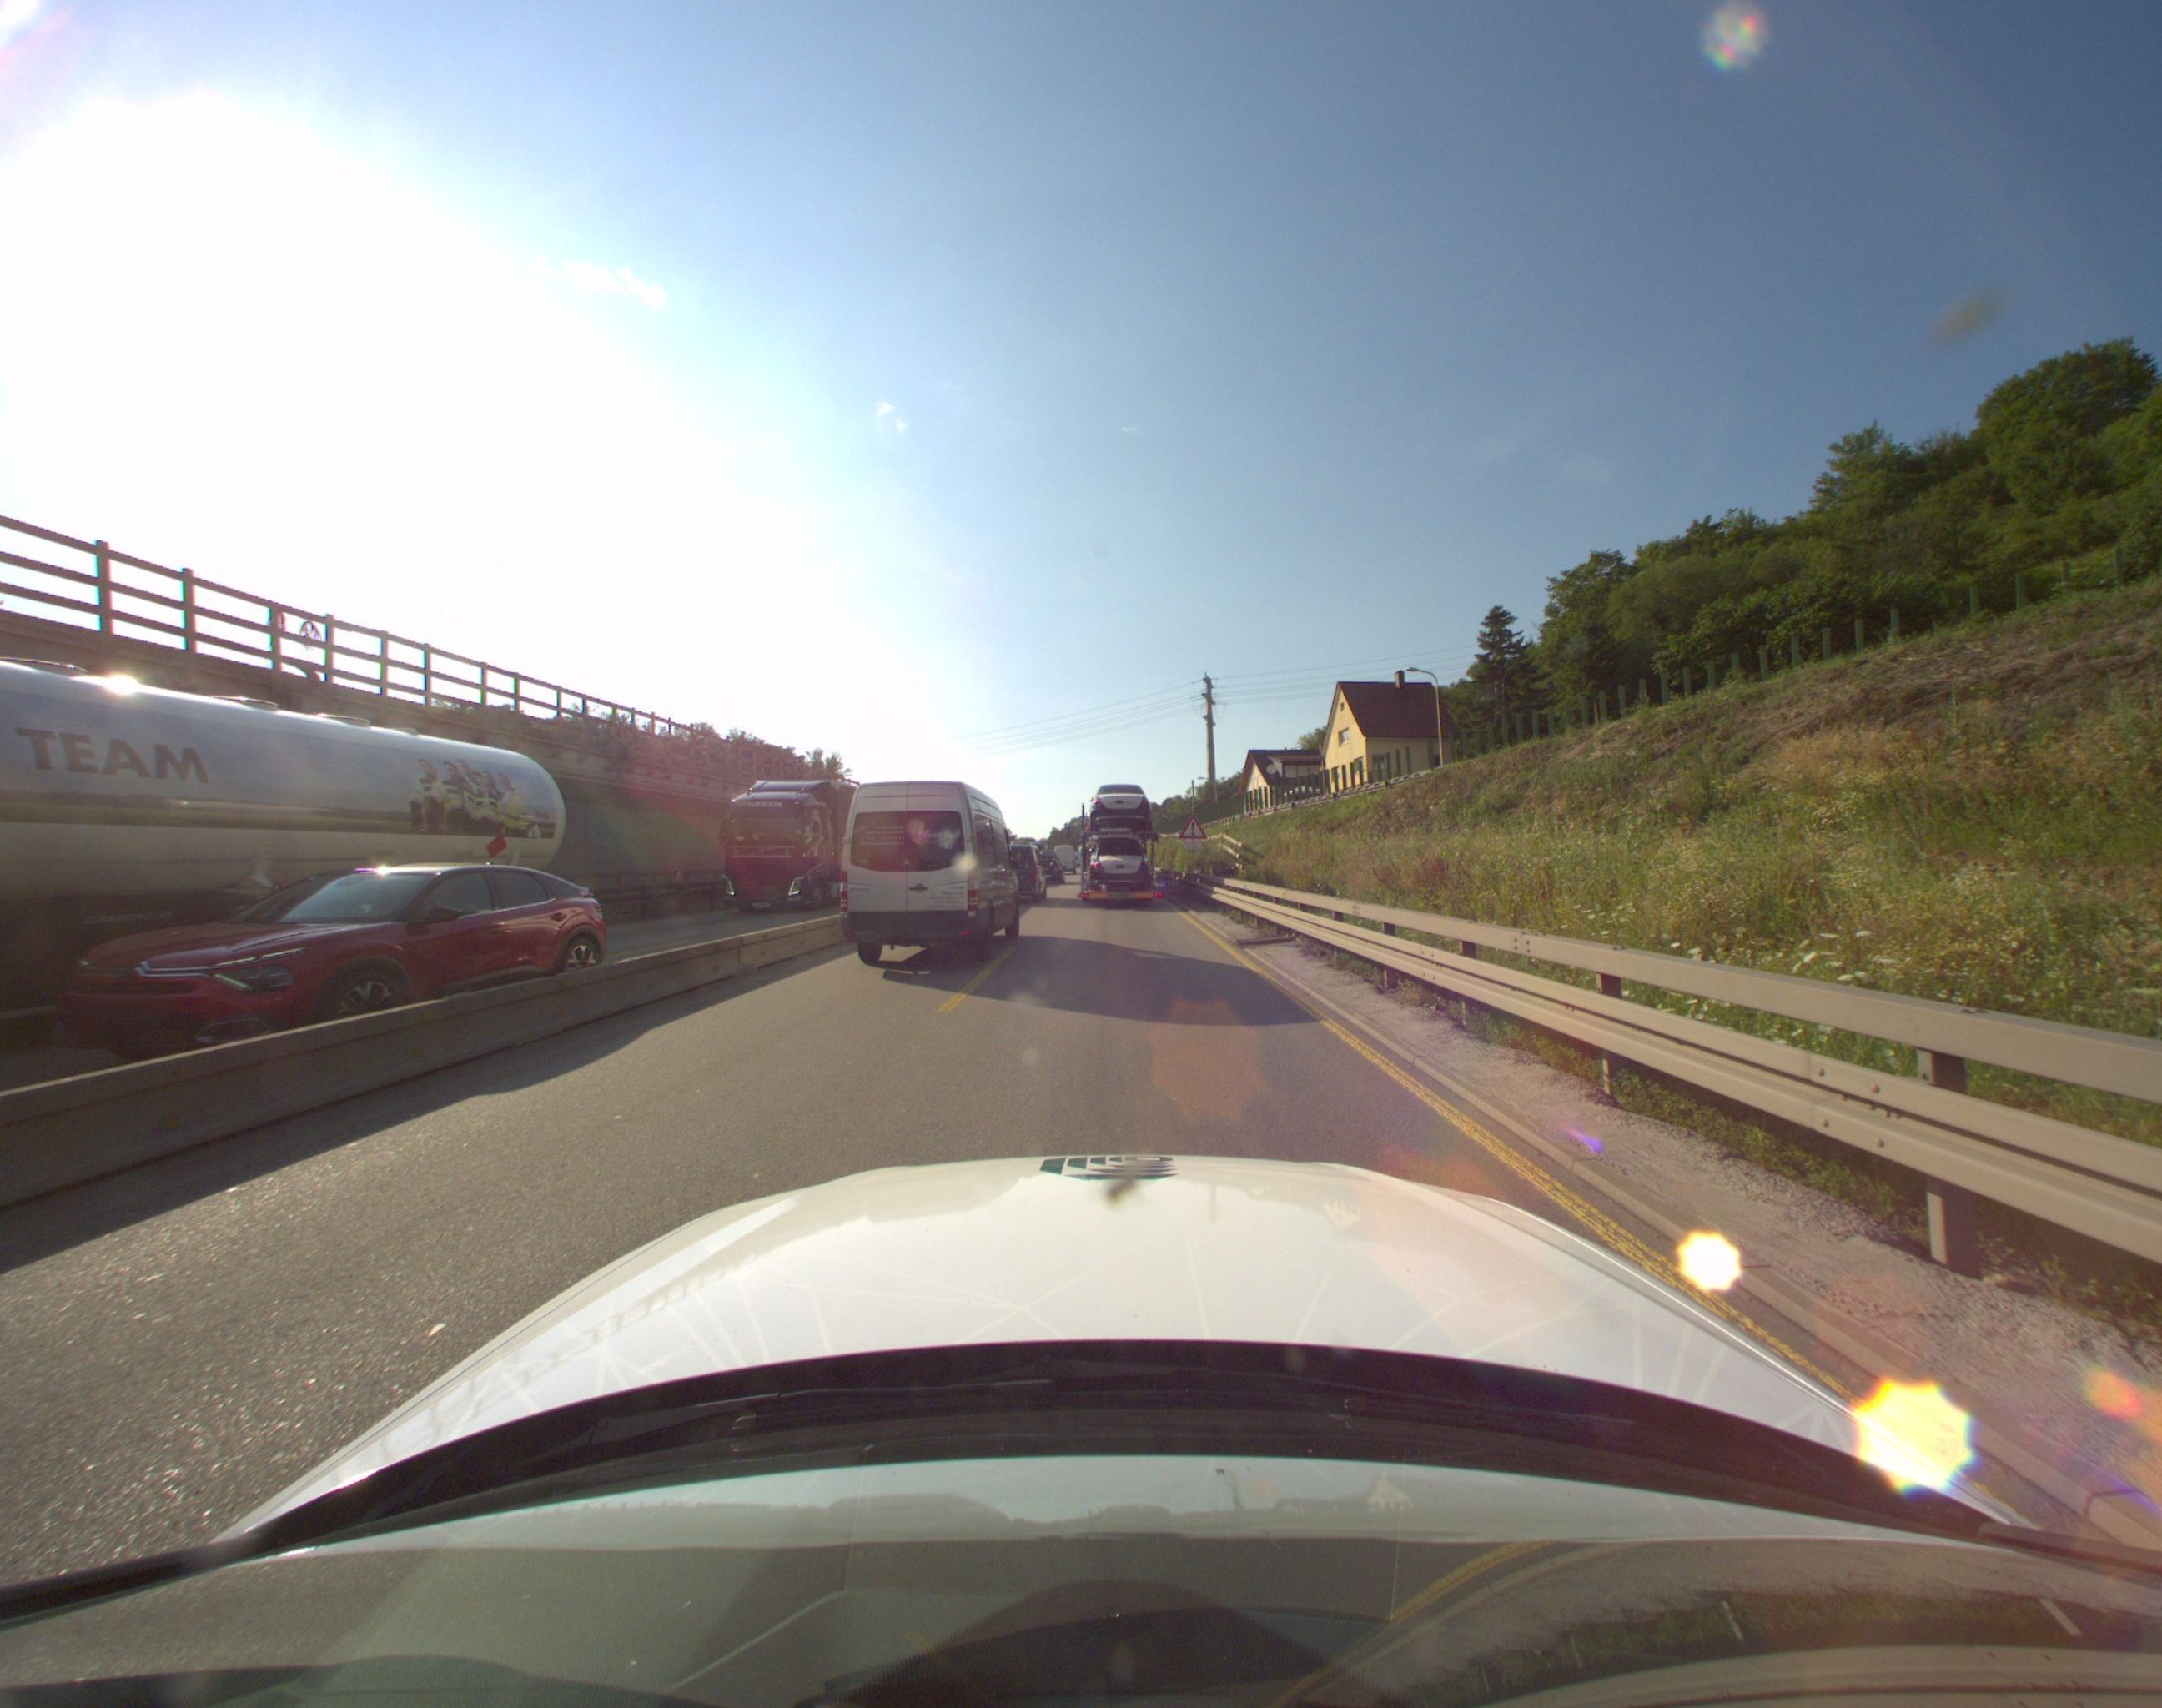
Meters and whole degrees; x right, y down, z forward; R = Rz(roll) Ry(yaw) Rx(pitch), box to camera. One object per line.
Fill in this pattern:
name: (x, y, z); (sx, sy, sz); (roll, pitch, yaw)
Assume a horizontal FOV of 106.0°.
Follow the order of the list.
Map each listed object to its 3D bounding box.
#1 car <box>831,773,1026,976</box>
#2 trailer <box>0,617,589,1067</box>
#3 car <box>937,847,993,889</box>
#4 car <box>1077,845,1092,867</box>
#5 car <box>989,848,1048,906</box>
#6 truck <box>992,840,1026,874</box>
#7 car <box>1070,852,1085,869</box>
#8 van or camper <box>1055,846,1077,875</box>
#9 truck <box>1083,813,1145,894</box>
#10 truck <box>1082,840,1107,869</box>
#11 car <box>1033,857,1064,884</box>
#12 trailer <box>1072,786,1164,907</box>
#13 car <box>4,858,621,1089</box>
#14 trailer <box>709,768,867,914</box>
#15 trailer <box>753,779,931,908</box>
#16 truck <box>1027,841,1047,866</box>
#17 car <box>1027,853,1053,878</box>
car: (-2.230, 0.279, 13.652); (1.986, 2.648, 5.532); (-2, 0, 2)
trailer: (-9.683, -0.051, 8.267); (2.547, 3.527, 10.685); (0, -1, 2)
car: (-4.847, 0.605, 34.562); (1.635, 1.645, 4.689); (0, -1, 1)
car: (0.806, 0.513, 190.619); (3.435, 5.035, 9.648); (-1, 0, -1)
car: (-2.165, 0.801, 29.091); (1.802, 1.904, 3.999); (0, -1, 0)
truck: (-7.767, 0.366, 88.800); (2.706, 3.424, 8.140); (-4, -1, 1)
car: (-0.441, 0.834, 105.421); (1.879, 2.100, 3.766); (-1, 0, 1)
van or camper: (-1.363, 0.649, 75.918); (1.962, 2.592, 5.040); (0, -1, 0)
truck: (1.546, 0.024, 39.195); (2.672, 3.535, 7.196); (-1, -1, 2)
truck: (2.450, 0.115, 140.692); (4.049, 4.679, 10.597); (-1, 0, 2)
car: (-1.915, 0.959, 48.968); (1.720, 1.522, 3.973); (0, 0, 0)
trailer: (1.334, -0.091, 31.625); (2.672, 3.535, 15.293); (-1, -1, 2)
car: (-6.500, 0.833, 7.748); (1.719, 1.557, 4.298); (0, 0, 1)
trailer: (-9.132, -0.378, 26.189); (2.755, 4.141, 5.978); (0, 0, 1)
trailer: (-8.965, -0.355, 33.151); (2.754, 4.141, 14.029); (0, 0, 1)
truck: (-7.577, -0.054, 140.418); (2.616, 4.112, 9.625); (-4, 0, 0)
car: (-4.264, 1.218, 85.675); (2.463, 2.534, 4.000); (-1, -1, 1)
